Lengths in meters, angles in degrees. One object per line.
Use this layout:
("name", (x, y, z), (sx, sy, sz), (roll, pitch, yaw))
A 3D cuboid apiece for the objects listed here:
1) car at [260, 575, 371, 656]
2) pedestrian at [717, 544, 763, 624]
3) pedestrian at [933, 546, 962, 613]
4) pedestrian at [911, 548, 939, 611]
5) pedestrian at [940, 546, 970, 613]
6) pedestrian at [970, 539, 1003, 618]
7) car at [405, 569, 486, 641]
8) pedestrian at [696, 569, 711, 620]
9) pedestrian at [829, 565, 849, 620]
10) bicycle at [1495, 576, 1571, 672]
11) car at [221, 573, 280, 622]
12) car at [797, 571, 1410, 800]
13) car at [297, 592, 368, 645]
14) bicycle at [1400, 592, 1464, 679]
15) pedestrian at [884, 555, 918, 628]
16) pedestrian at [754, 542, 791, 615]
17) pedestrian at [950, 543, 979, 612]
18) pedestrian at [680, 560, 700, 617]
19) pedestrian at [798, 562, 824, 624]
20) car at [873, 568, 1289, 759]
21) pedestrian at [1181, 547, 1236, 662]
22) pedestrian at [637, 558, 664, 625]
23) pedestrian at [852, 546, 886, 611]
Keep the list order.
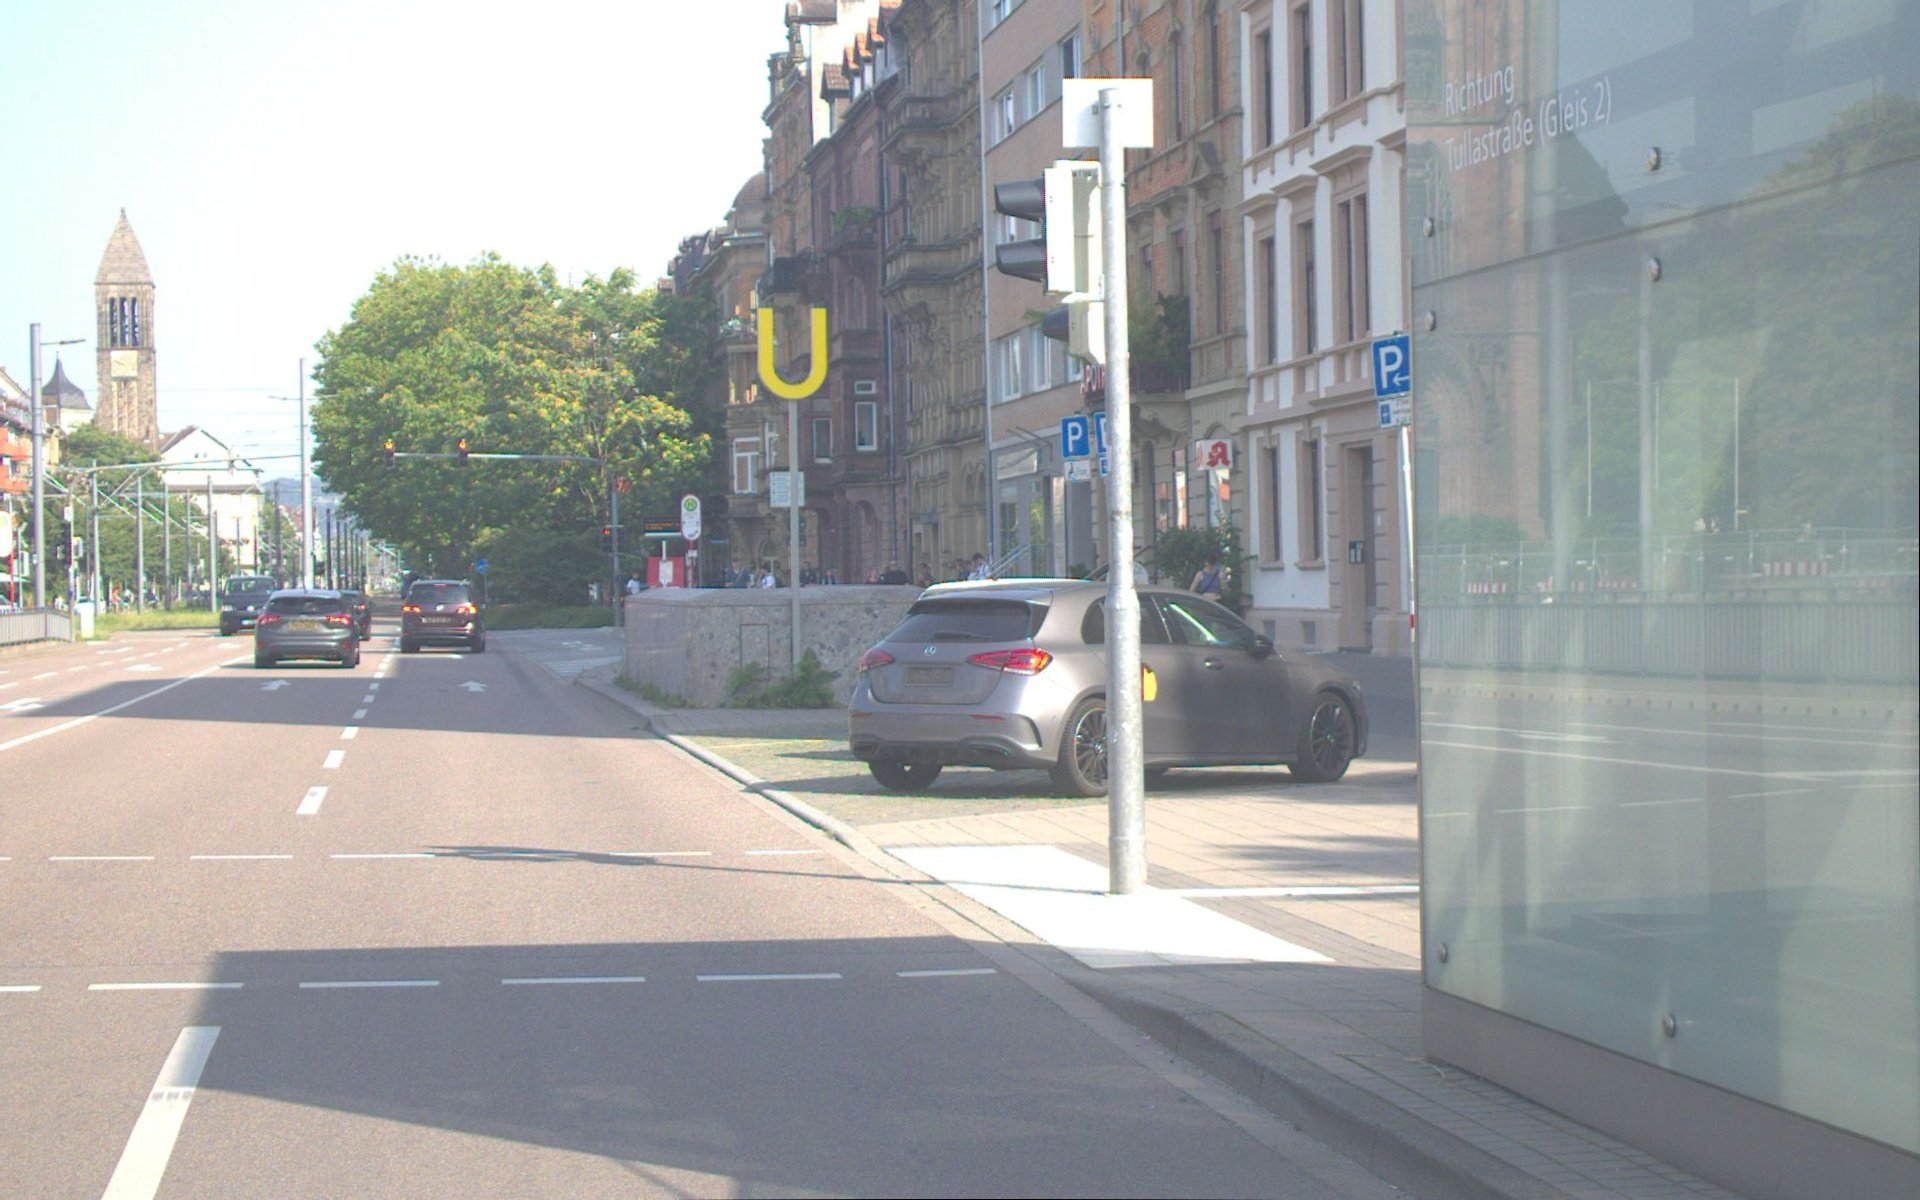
("car", (-11.902, 0.258, 63.693), (1.863, 1.420, 4.358), (0, 1, -8))
("pedestrian", (-5.063, -0.377, 79.157), (0.925, 1.825, 0.801), (-1, 1, -12))
("pedestrian", (-0.323, -0.529, 88.395), (0.603, 1.686, 0.587), (-1, 1, -12))
("pedestrian", (-0.923, -0.534, 90.259), (0.603, 1.649, 0.587), (-1, 1, -12))
("pedestrian", (-0.129, -0.522, 87.604), (0.603, 1.686, 0.587), (-1, 1, -12))
("pedestrian", (0.625, -0.503, 80.773), (0.603, 1.825, 0.742), (-1, 1, -12))
("car", (-12.092, 0.098, 80.814), (1.831, 1.615, 4.358), (0, 1, -8))
("pedestrian", (-6.377, -0.136, 85.494), (0.275, 1.270, 0.448), (-1, 1, -16))
("pedestrian", (-3.543, -0.216, 100.500), (0.486, 1.605, 0.813), (-1, 0, -8))
("bicycle", (6.986, 0.278, 41.960), (0.383, 1.130, 1.720), (-1, 1, -8))
("car", (-23.340, -0.093, 113.115), (1.740, 1.521, 3.874), (-1, 1, -10))
("car", (1.087, 0.533, 23.940), (1.846, 1.418, 4.398), (-1, 0, 43))
("car", (-17.862, 0.512, 98.013), (1.863, 1.420, 4.358), (0, 1, -8))
("bicycle", (6.378, 0.466, 46.506), (0.383, 1.130, 1.720), (-1, 1, -8))
("pedestrian", (-1.462, -0.219, 84.983), (0.720, 1.781, 0.856), (-1, 0, -8))
("pedestrian", (-4.506, -0.512, 82.537), (0.749, 1.723, 0.801), (-1, 1, -12))
("pedestrian", (0.112, -0.565, 86.898), (0.603, 1.725, 0.511), (-1, 1, -12))
("pedestrian", (-8.024, -0.347, 102.252), (0.481, 1.696, 0.703), (-1, 1, -12))
("pedestrian", (-4.354, -0.201, 100.423), (0.616, 1.798, 1.072), (-1, 0, -8))
("car", (1.052, 0.485, 28.470), (1.621, 1.459, 3.520), (-1, 0, 40))
("pedestrian", (3.554, 0.057, 49.268), (0.608, 1.623, 0.737), (-1, 1, -8))
("pedestrian", (-7.970, -0.223, 88.464), (0.564, 1.723, 0.745), (-1, 1, -12))
("pedestrian", (-2.256, -0.530, 84.866), (0.720, 1.605, 0.856), (-1, 0, -8))
